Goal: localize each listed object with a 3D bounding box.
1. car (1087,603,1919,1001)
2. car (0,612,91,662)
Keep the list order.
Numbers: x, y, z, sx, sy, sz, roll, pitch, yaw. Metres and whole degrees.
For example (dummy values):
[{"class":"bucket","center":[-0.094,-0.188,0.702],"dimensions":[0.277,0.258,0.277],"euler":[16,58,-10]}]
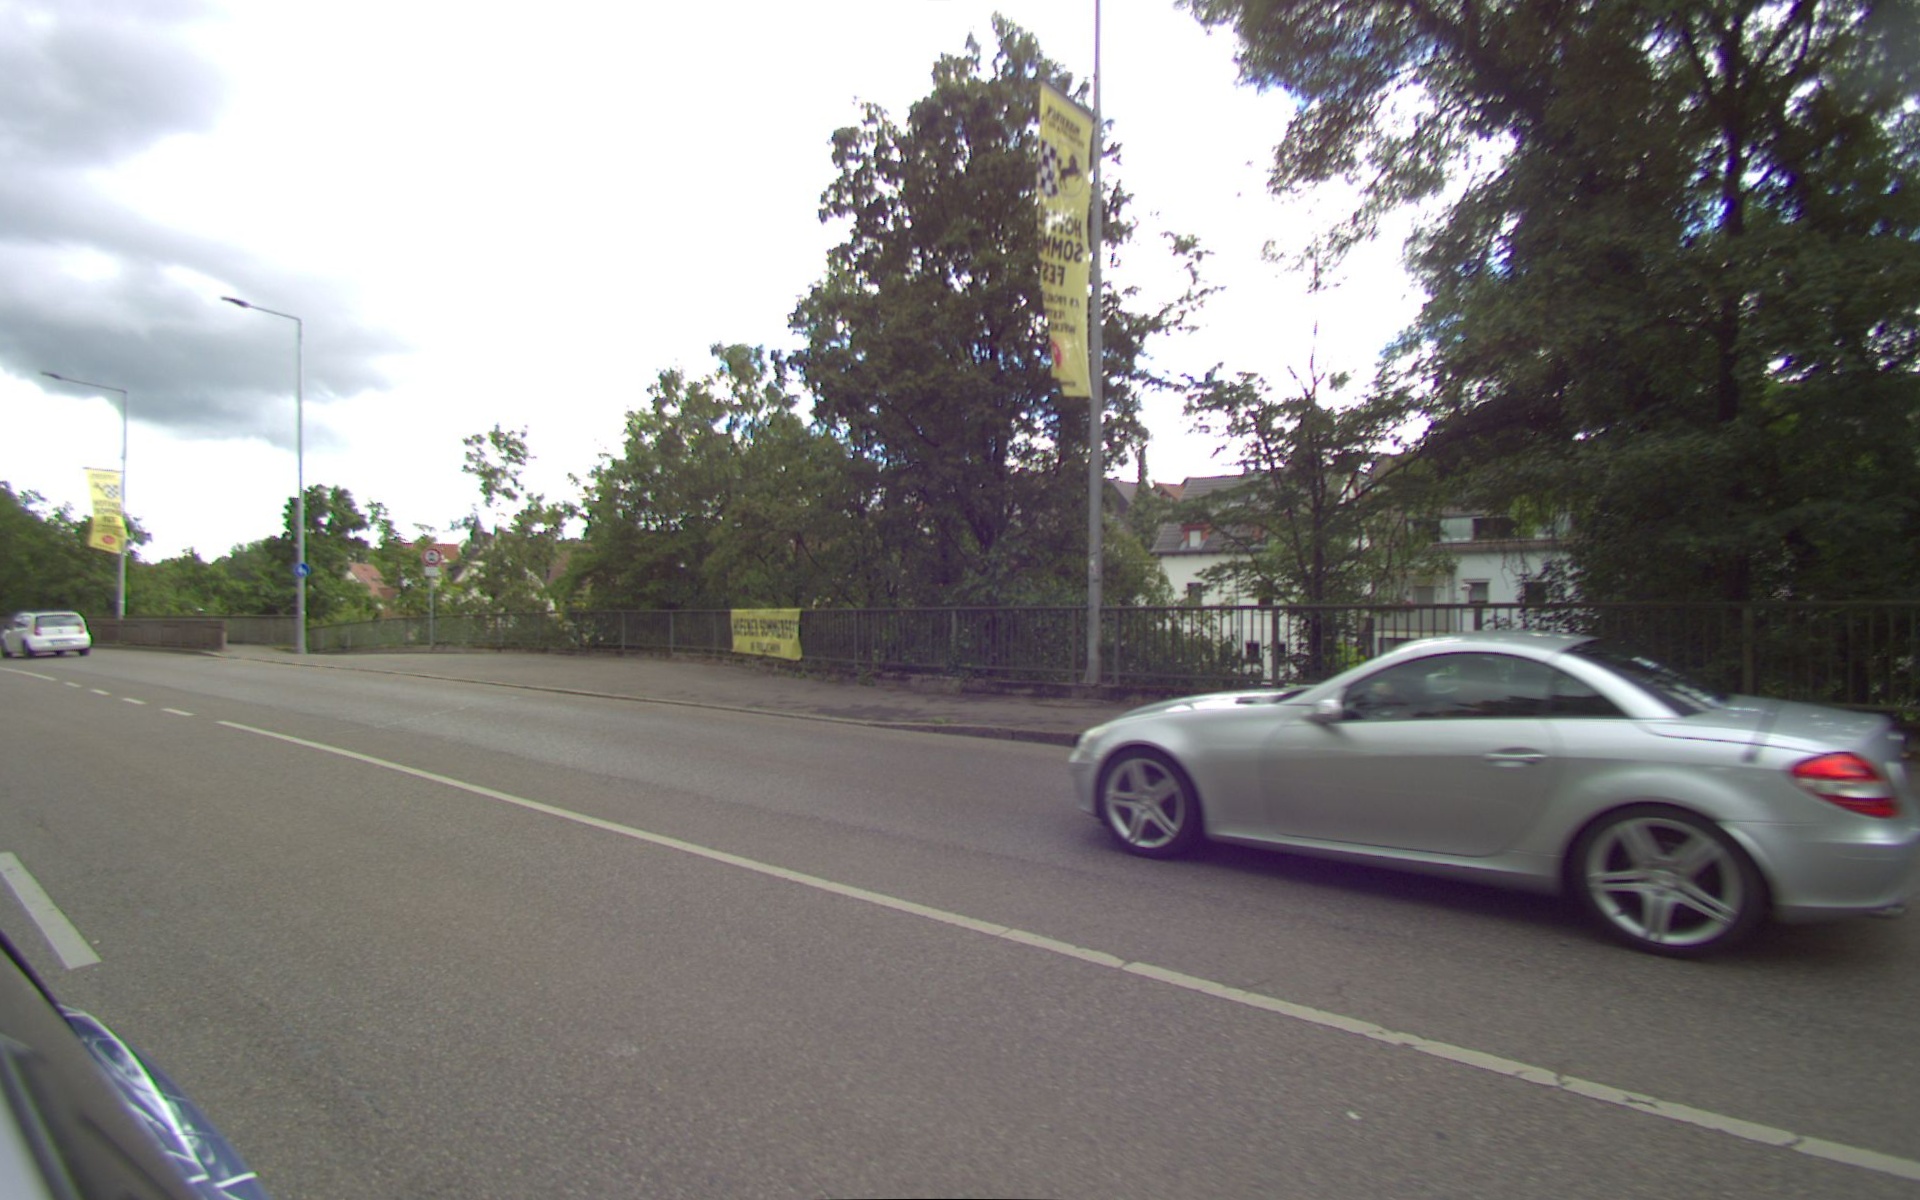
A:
[{"class":"car","center":[2.672,0.714,5.203],"dimensions":[3.696,1.347,1.739],"euler":[-1,-1,43]},{"class":"car","center":[-30.164,1.206,33.218],"dimensions":[3.687,1.476,1.568],"euler":[-2,2,35]}]
